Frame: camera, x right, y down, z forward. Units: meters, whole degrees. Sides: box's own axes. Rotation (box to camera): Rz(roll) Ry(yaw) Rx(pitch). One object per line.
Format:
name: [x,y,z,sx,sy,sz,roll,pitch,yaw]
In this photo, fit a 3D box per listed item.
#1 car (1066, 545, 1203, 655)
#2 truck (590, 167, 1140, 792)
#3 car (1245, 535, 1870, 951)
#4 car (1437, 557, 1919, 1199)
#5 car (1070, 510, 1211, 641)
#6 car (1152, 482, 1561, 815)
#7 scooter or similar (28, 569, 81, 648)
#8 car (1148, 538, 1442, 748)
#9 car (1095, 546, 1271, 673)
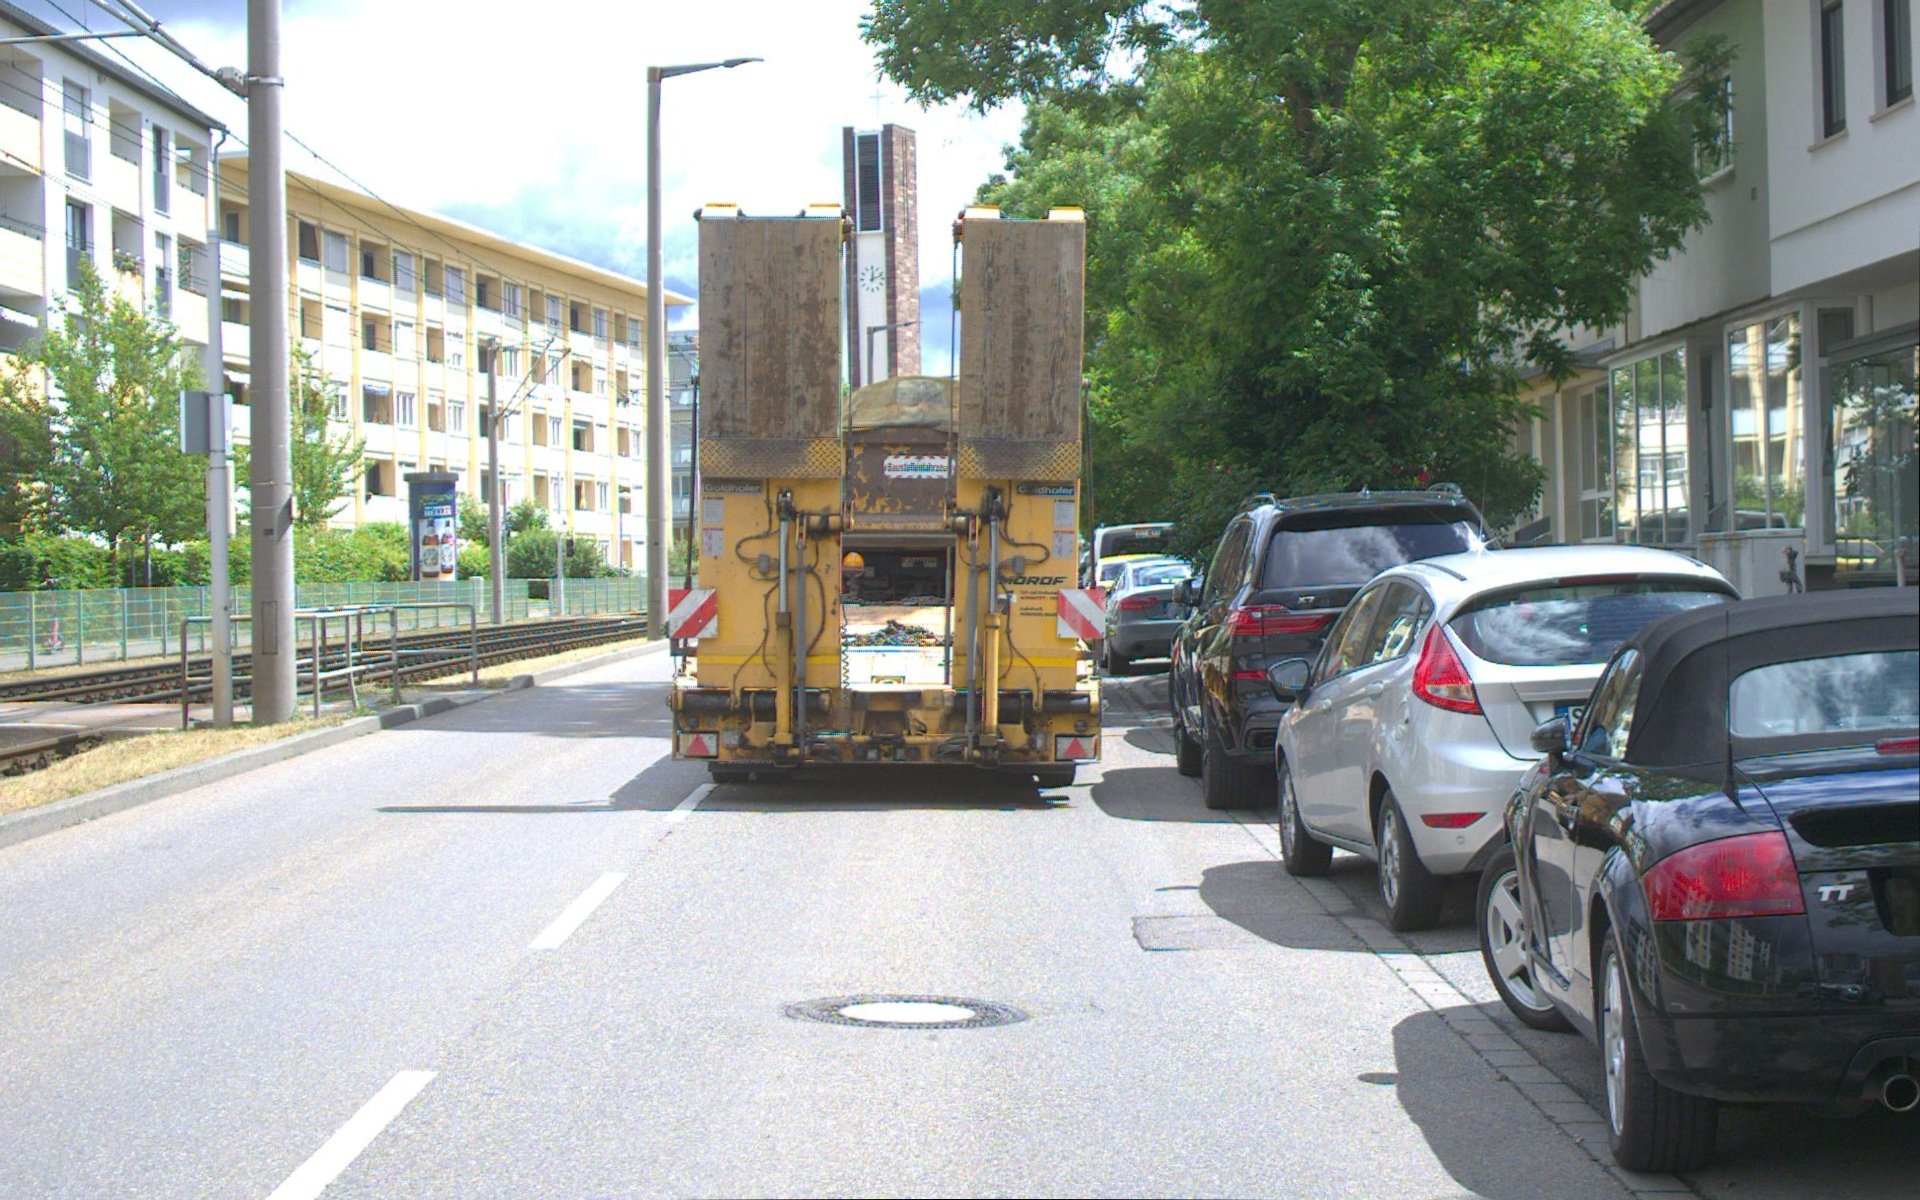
car: [2.463,-0.028,49.380,1.755,1.437,4.341,-2,1,1]
truck: [-0.614,-0.785,25.924,3.124,3.552,12.460,0,1,-1]
car: [2.374,0.507,14.663,1.771,1.437,3.900,-3,1,-2]
car: [2.406,0.598,9.500,1.771,1.345,4.000,-3,1,3]
car: [2.853,-0.407,55.498,1.914,1.952,5.745,-2,1,0]
car: [2.322,0.232,21.457,2.015,1.782,5.076,-2,1,1]
scooter or similar: [-15.092,0.130,57.315,0.490,1.288,1.302,0,1,1]
car: [2.595,0.290,27.545,1.834,1.500,4.243,-2,1,-1]
car: [2.681,0.081,42.202,1.755,1.437,4.494,-2,1,-1]
